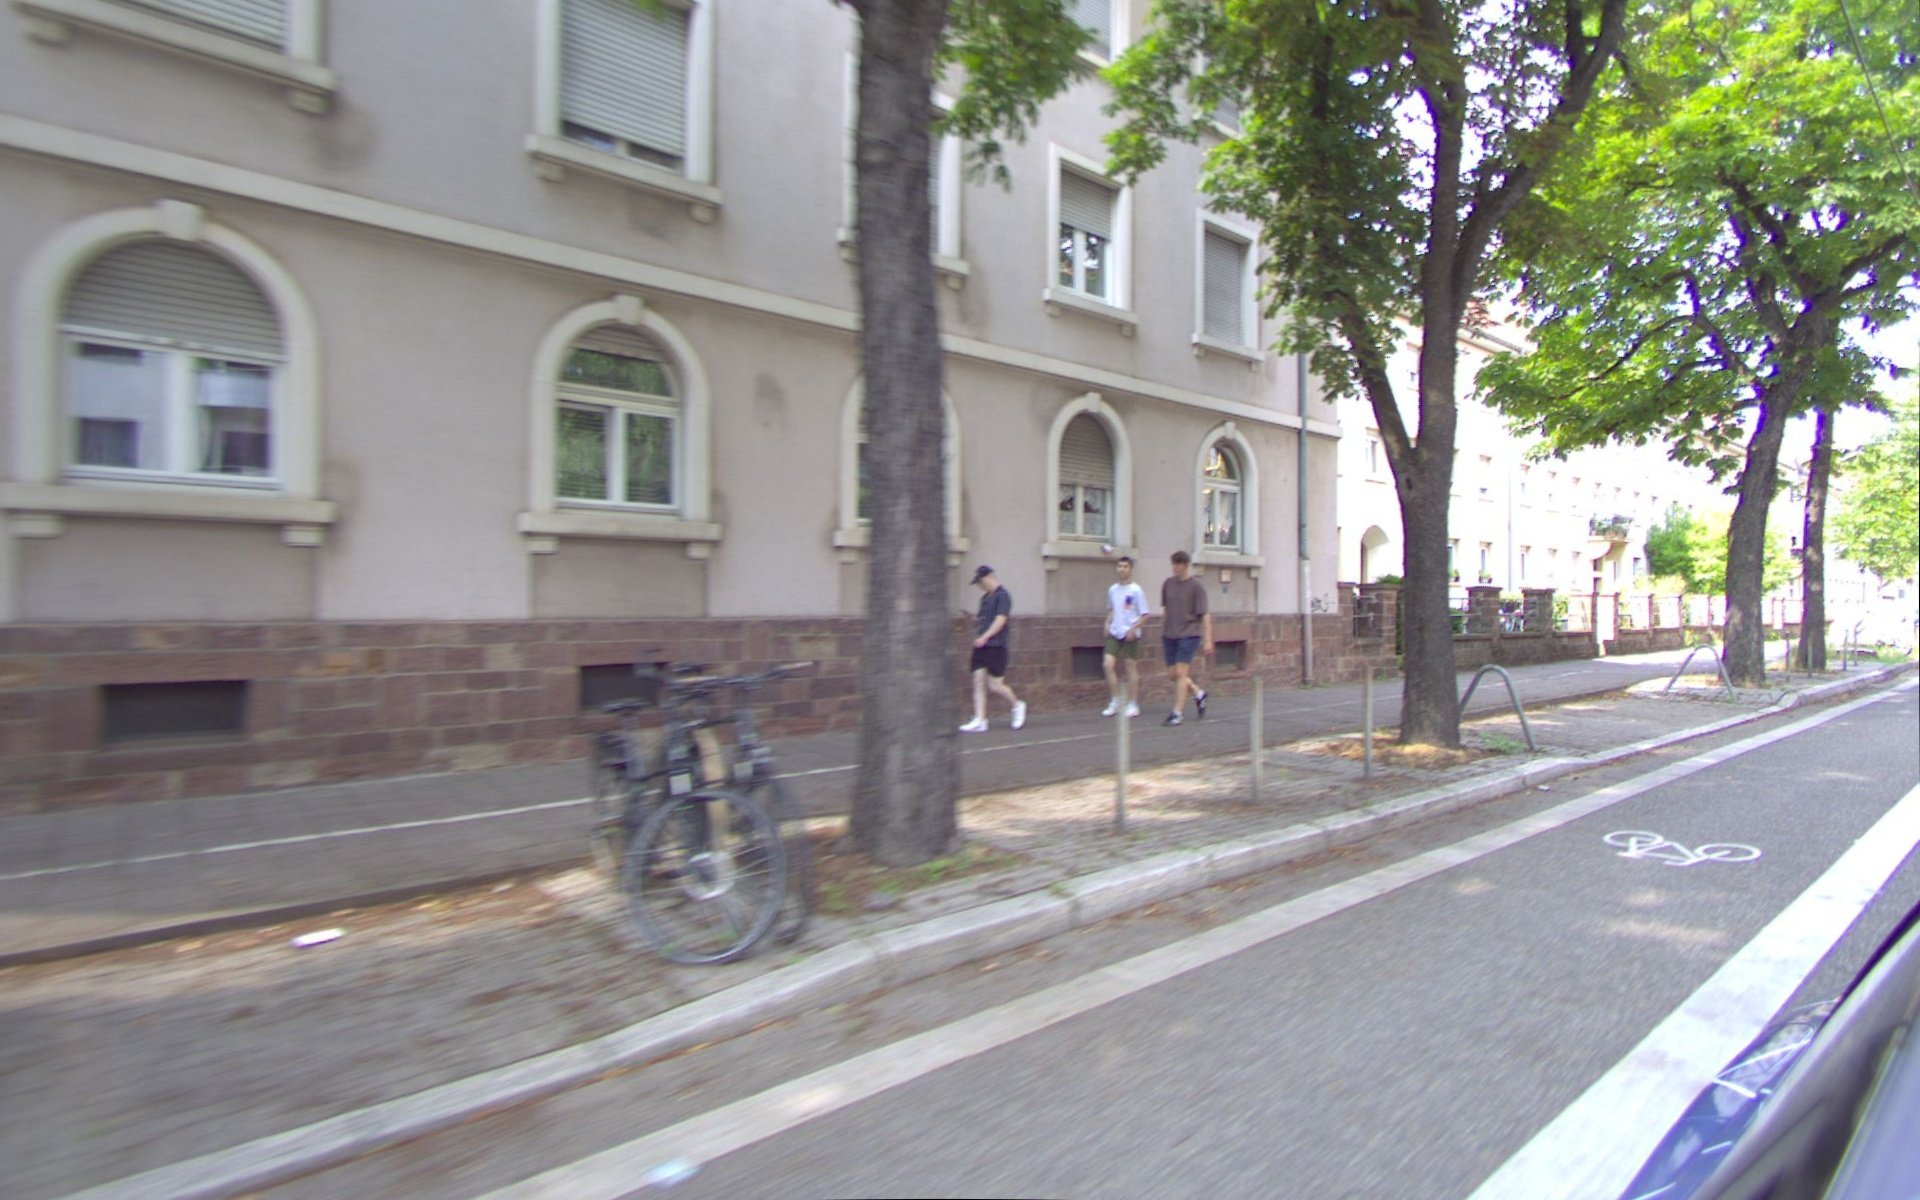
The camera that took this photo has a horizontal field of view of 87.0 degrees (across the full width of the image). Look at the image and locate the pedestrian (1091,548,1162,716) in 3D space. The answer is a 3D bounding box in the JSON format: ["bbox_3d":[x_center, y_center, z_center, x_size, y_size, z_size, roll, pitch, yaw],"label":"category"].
[{"bbox_3d":[1.932,0.361,11.728,0.675,1.876,0.505,0,-1,-41],"label":"pedestrian"}]

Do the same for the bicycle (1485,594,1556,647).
[{"bbox_3d":[13.682,0.478,24.665,2.553,1.206,0.653,-1,-1,-41],"label":"bicycle"}]

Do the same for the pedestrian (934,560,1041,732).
[{"bbox_3d":[0.282,0.444,10.329,0.959,1.660,0.581,0,-1,-41],"label":"pedestrian"}]

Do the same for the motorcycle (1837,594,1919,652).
[{"bbox_3d":[25.109,0.608,27.569,0.796,1.512,2.067,0,0,6],"label":"motorcycle"}]

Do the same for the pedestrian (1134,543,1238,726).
[{"bbox_3d":[2.492,0.361,11.157,0.870,1.913,0.755,0,0,-41],"label":"pedestrian"}]

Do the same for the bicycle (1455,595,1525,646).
[{"bbox_3d":[13.281,0.486,25.317,2.553,1.206,0.653,-1,-1,-41],"label":"bicycle"}]

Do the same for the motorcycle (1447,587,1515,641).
[{"bbox_3d":[14.420,0.360,27.982,2.553,1.432,0.752,-1,-1,-41],"label":"motorcycle"}]

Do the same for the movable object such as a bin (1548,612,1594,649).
[{"bbox_3d":[15.949,0.790,26.417,0.739,0.928,0.829,0,0,-41],"label":"movable object such as a bin"}]

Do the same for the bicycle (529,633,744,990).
[{"bbox_3d":[-1.471,0.794,4.448,0.508,1.236,1.493,-1,0,-33],"label":"bicycle"}]

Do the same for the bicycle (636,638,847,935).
[{"bbox_3d":[-1.123,0.803,4.969,0.508,1.167,1.493,0,0,-33],"label":"bicycle"}]

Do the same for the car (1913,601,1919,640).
[{"bbox_3d":[36.491,0.738,37.251,3.931,1.406,1.692,0,0,-42],"label":"car"}]
